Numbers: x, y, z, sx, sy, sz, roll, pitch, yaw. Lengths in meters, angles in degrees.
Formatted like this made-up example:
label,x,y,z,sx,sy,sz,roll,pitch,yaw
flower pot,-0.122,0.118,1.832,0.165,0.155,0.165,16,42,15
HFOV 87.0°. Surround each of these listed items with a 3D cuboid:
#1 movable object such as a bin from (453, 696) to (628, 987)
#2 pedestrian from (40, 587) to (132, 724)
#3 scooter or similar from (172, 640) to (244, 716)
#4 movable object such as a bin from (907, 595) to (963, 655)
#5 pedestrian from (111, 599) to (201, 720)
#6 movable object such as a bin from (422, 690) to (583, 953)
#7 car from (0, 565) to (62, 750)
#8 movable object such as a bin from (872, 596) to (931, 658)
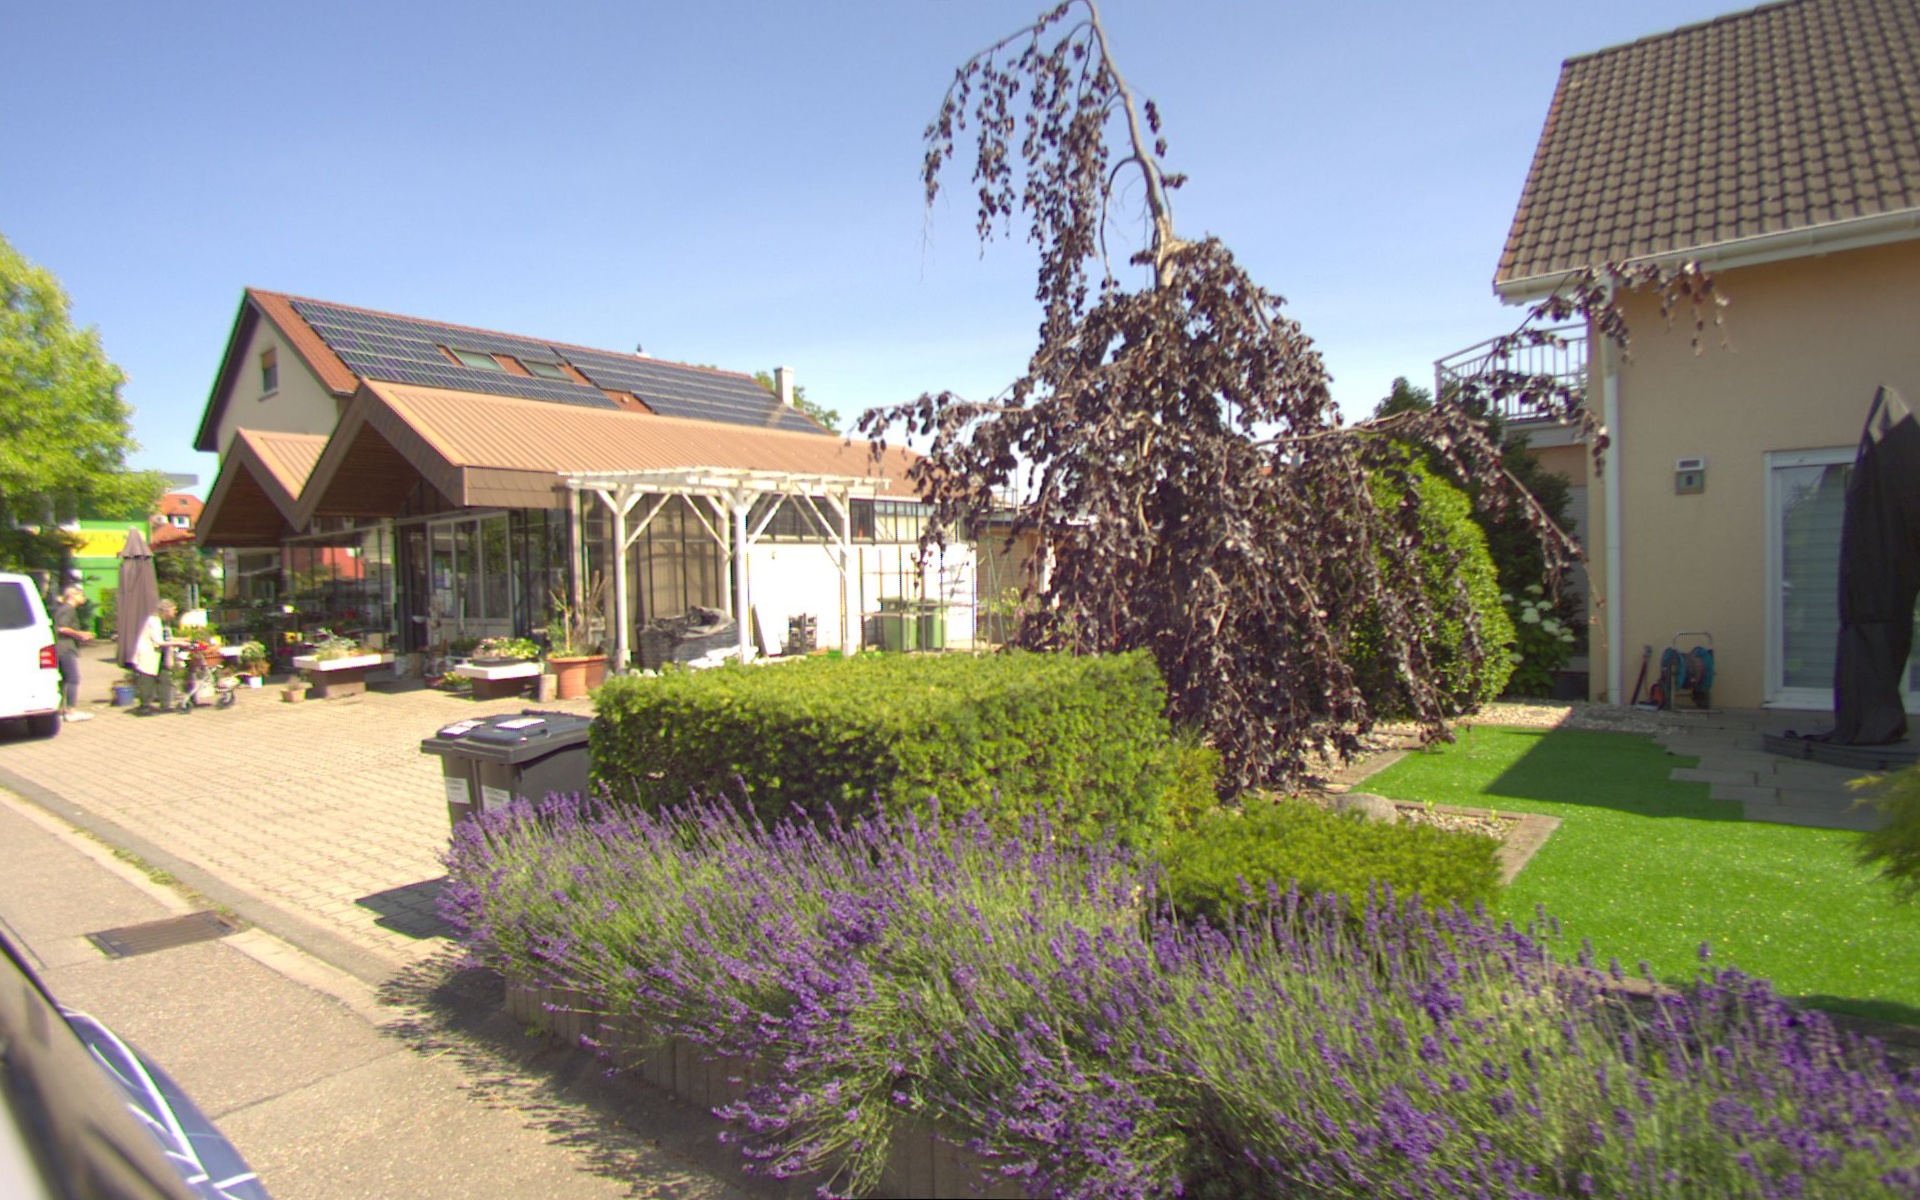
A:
label,x,y,z,sx,sy,sz,roll,pitch,yaw
movable object such as a bin,-1.718,0.942,4.154,0.447,1.032,0.489,-1,0,39
pedestrian,-11.619,0.713,13.473,0.680,1.744,0.644,-3,1,-21
scooter or similar,-10.232,1.050,13.787,0.592,0.953,0.623,-2,1,-17
movable object such as a bin,-0.471,0.469,19.117,0.713,1.076,0.800,-1,1,32
pedestrian,-10.794,0.777,13.608,0.707,1.550,0.644,-3,1,-18
movable object such as a bin,-2.057,0.954,4.556,0.447,1.032,0.489,-1,0,39
car,-12.710,0.671,12.350,4.892,2.028,1.909,-1,1,40
movable object such as a bin,-1.066,0.486,18.530,0.713,1.076,0.800,-1,1,32
